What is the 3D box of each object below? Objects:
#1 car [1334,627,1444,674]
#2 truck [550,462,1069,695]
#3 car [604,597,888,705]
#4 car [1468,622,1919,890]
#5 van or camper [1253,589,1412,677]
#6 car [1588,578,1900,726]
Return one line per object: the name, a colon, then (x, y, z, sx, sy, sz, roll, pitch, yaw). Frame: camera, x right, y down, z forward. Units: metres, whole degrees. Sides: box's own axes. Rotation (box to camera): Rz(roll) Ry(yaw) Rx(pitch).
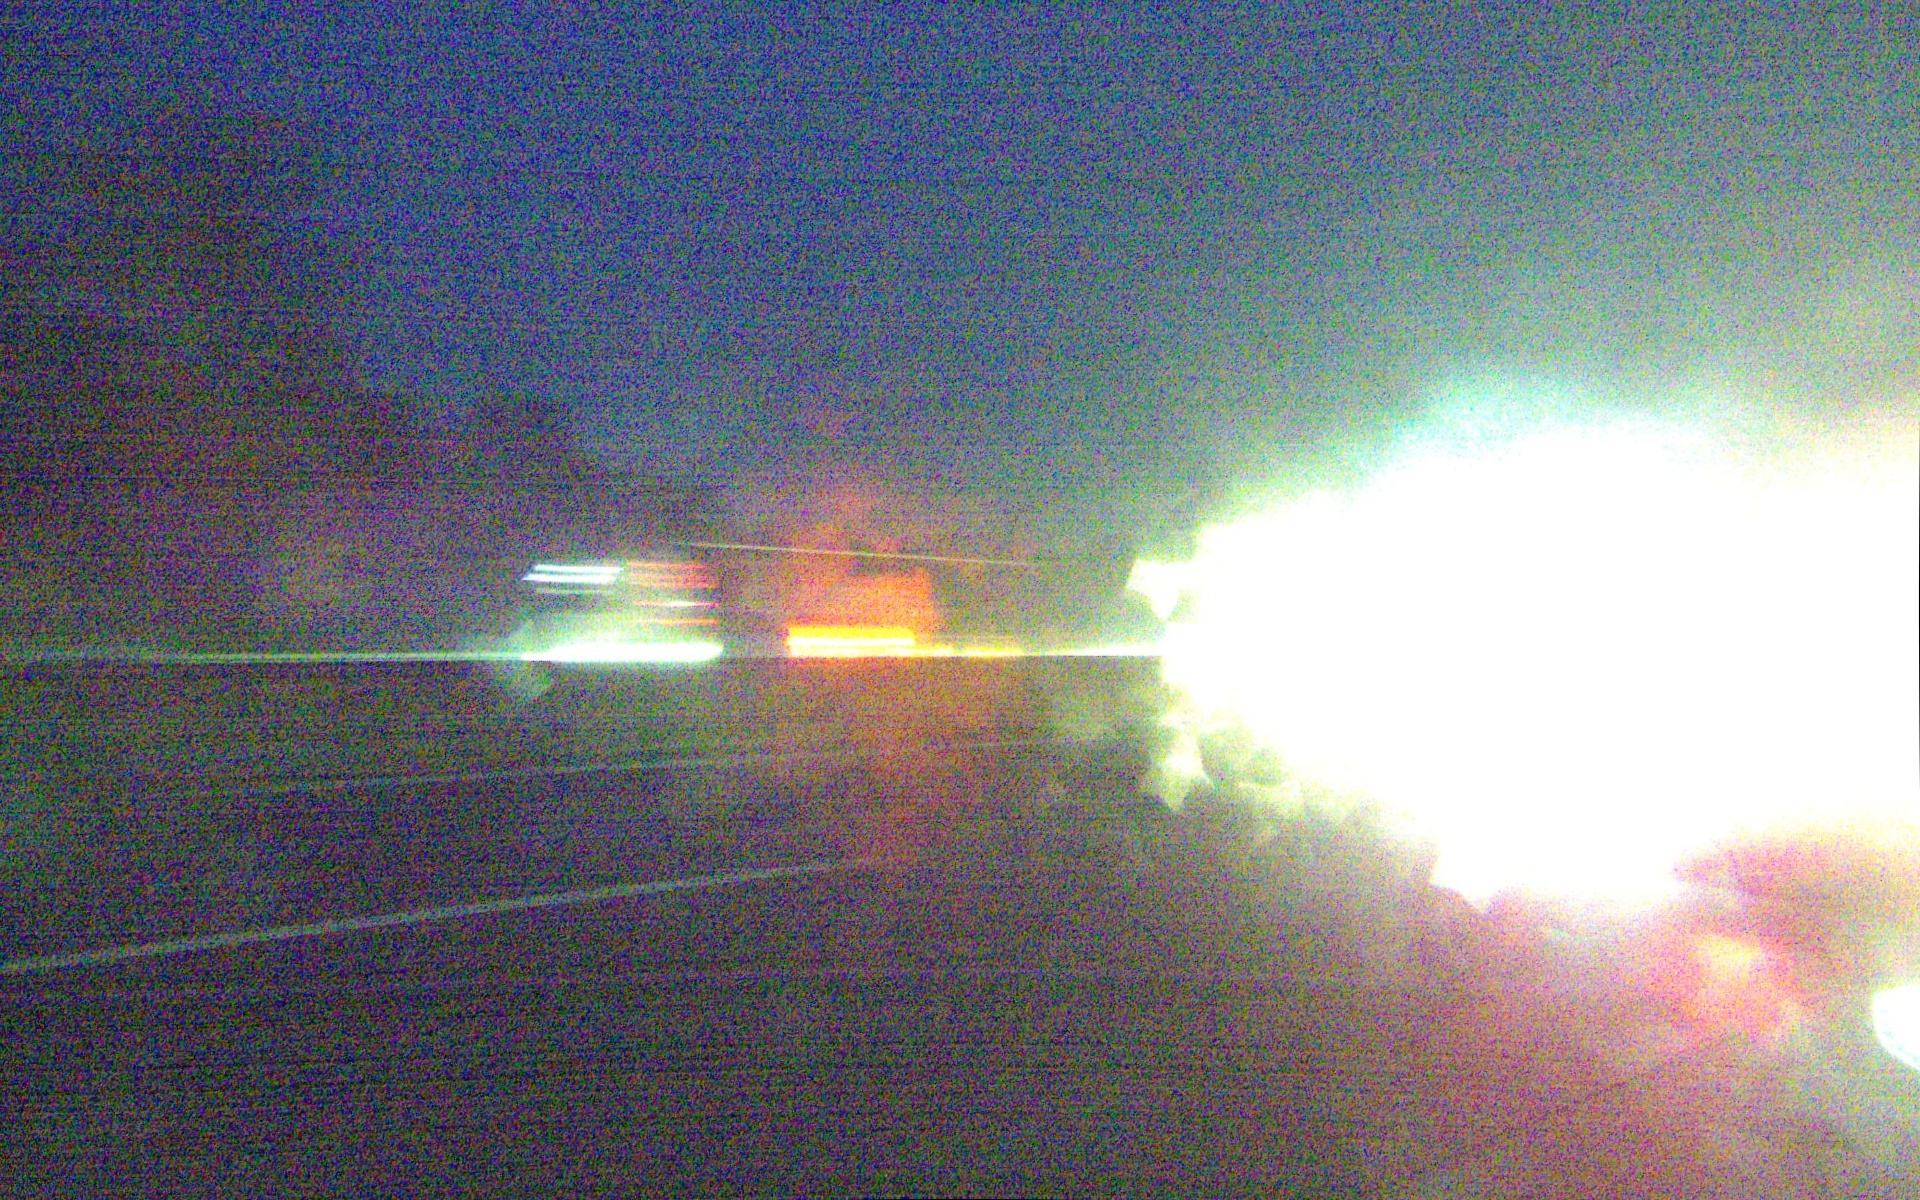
car: (16.282, 1.910, 38.102, 4.156, 1.649, 1.668, 2, 0, -30)
truck: (-4.288, -0.350, 33.651, 17.101, 6.497, 3.207, 2, 0, -31)
car: (-4.252, 0.997, 20.274, 5.208, 1.915, 2.064, 2, 0, -30)
car: (5.754, 0.917, 7.429, 4.199, 1.450, 1.647, 1, 0, -32)
van or camper: (17.100, 1.500, 45.903, 7.590, 3.750, 2.502, 2, 0, -30)
car: (13.150, 0.819, 16.769, 5.561, 2.132, 2.114, 2, 0, -29)
